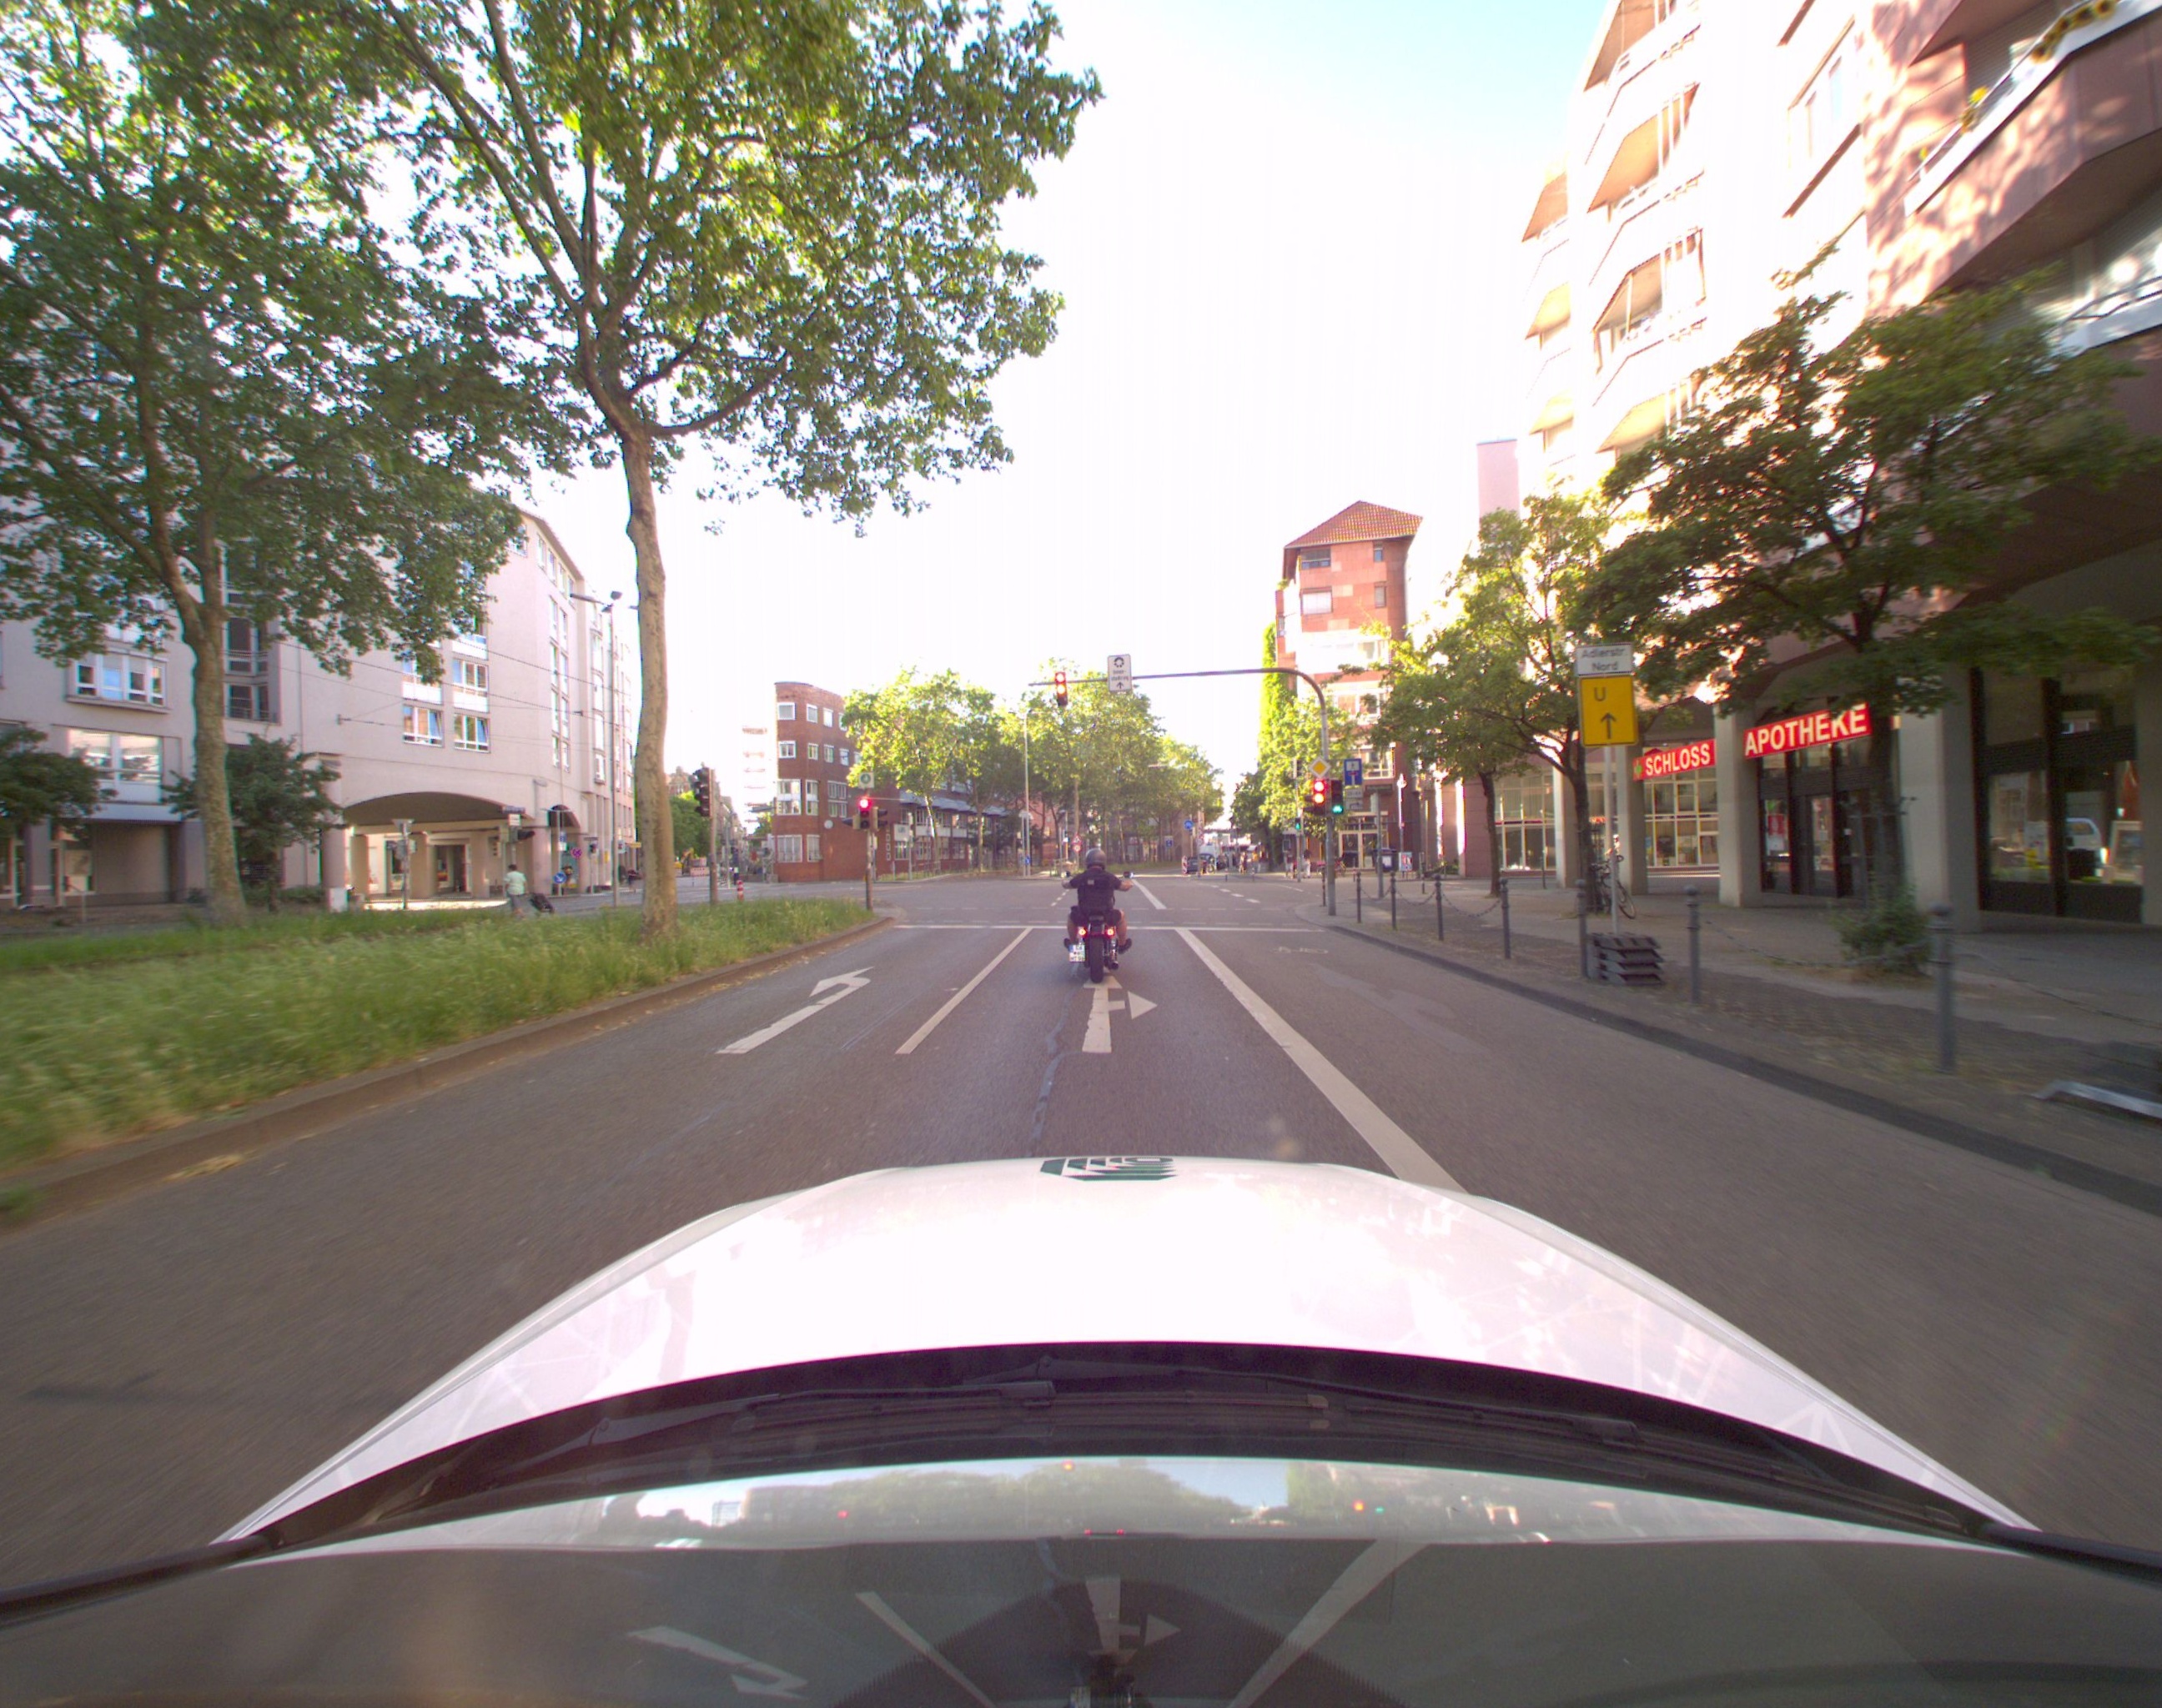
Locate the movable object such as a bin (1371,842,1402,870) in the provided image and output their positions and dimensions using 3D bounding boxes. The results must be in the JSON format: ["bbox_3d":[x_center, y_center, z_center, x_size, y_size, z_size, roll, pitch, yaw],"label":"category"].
[{"bbox_3d":[16.513,0.117,44.046,1.400,1.482,0.875,-2,0,14],"label":"movable object such as a bin"}]

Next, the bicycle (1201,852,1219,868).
[{"bbox_3d":[8.835,0.406,55.739,0.736,1.053,1.748,-2,0,-6],"label":"bicycle"}]

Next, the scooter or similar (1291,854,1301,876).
[{"bbox_3d":[12.026,0.611,45.585,0.392,1.158,1.252,-2,0,8],"label":"scooter or similar"}]

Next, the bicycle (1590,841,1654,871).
[{"bbox_3d":[21.524,0.097,32.430,1.903,1.113,0.806,-2,0,10],"label":"bicycle"}]

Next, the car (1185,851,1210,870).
[{"bbox_3d":[8.996,0.483,62.739,1.610,1.302,4.325,-2,0,11],"label":"car"}]

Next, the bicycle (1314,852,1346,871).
[{"bbox_3d":[15.192,0.456,49.696,1.730,1.053,0.744,-2,0,30],"label":"bicycle"}]

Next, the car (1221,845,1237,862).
[{"bbox_3d":[18.714,-0.103,103.066,1.823,2.013,4.402,-2,0,12],"label":"car"}]

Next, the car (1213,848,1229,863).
[{"bbox_3d":[15.813,0.137,91.968,1.610,1.610,3.786,-2,0,11],"label":"car"}]

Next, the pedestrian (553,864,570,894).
[{"bbox_3d":[-35.167,1.694,55.121,0.839,2.013,0.879,-2,0,-29],"label":"pedestrian"}]

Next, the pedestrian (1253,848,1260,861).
[{"bbox_3d":[20.021,0.067,92.825,0.760,1.445,0.782,-1,-1,11],"label":"pedestrian"}]

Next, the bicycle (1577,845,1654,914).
[{"bbox_3d":[10.157,0.447,15.556,0.617,1.225,1.934,-2,0,15],"label":"bicycle"}]

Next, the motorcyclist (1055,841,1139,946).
[{"bbox_3d":[0.212,0.470,10.158,1.007,1.263,0.774,0,0,3],"label":"motorcyclist"}]

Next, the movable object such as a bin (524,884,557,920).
[{"bbox_3d":[-15.084,1.339,22.752,0.506,0.953,0.542,-2,0,16],"label":"movable object such as a bin"}]

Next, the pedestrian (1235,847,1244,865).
[{"bbox_3d":[15.216,0.208,78.081,0.759,1.644,0.548,-2,0,5],"label":"pedestrian"}]

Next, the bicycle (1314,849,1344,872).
[{"bbox_3d":[14.217,0.357,46.665,1.558,1.227,0.579,-2,0,8],"label":"bicycle"}]

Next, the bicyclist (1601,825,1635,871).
[{"bbox_3d":[21.410,-0.249,32.467,0.820,1.770,0.790,-2,0,11],"label":"bicyclist"}]

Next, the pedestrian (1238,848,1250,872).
[{"bbox_3d":[11.253,0.403,56.256,0.641,1.578,0.749,-2,0,6],"label":"pedestrian"}]

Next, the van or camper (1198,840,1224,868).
[{"bbox_3d":[12.702,-0.044,79.141,2.035,2.540,5.793,-2,0,12],"label":"van or camper"}]

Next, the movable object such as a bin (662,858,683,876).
[{"bbox_3d":[-55.357,1.794,110.400,1.928,2.310,2.776,-2,0,-12],"label":"movable object such as a bin"}]

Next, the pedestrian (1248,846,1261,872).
[{"bbox_3d":[11.950,0.326,56.074,0.697,1.733,0.769,-2,0,6],"label":"pedestrian"}]

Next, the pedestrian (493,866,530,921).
[{"bbox_3d":[-15.806,1.089,22.604,0.613,1.503,0.537,-2,0,15],"label":"pedestrian"}]

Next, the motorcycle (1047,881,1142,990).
[{"bbox_3d":[0.204,0.933,9.998,1.013,1.097,2.009,-2,0,3],"label":"motorcycle"}]

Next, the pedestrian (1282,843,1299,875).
[{"bbox_3d":[11.662,0.292,45.335,0.783,1.763,0.610,-2,0,2],"label":"pedestrian"}]

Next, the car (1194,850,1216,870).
[{"bbox_3d":[11.135,0.529,72.945,1.609,1.619,4.500,-2,0,12],"label":"car"}]

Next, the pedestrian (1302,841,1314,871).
[{"bbox_3d":[12.534,0.106,44.973,0.457,1.672,0.681,-2,0,5],"label":"pedestrian"}]

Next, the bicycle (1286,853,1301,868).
[{"bbox_3d":[14.349,0.453,54.929,0.733,0.939,1.755,-2,0,7],"label":"bicycle"}]

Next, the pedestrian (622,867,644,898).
[{"bbox_3d":[-28.040,1.804,50.956,0.851,1.869,0.753,-2,0,4],"label":"pedestrian"}]
